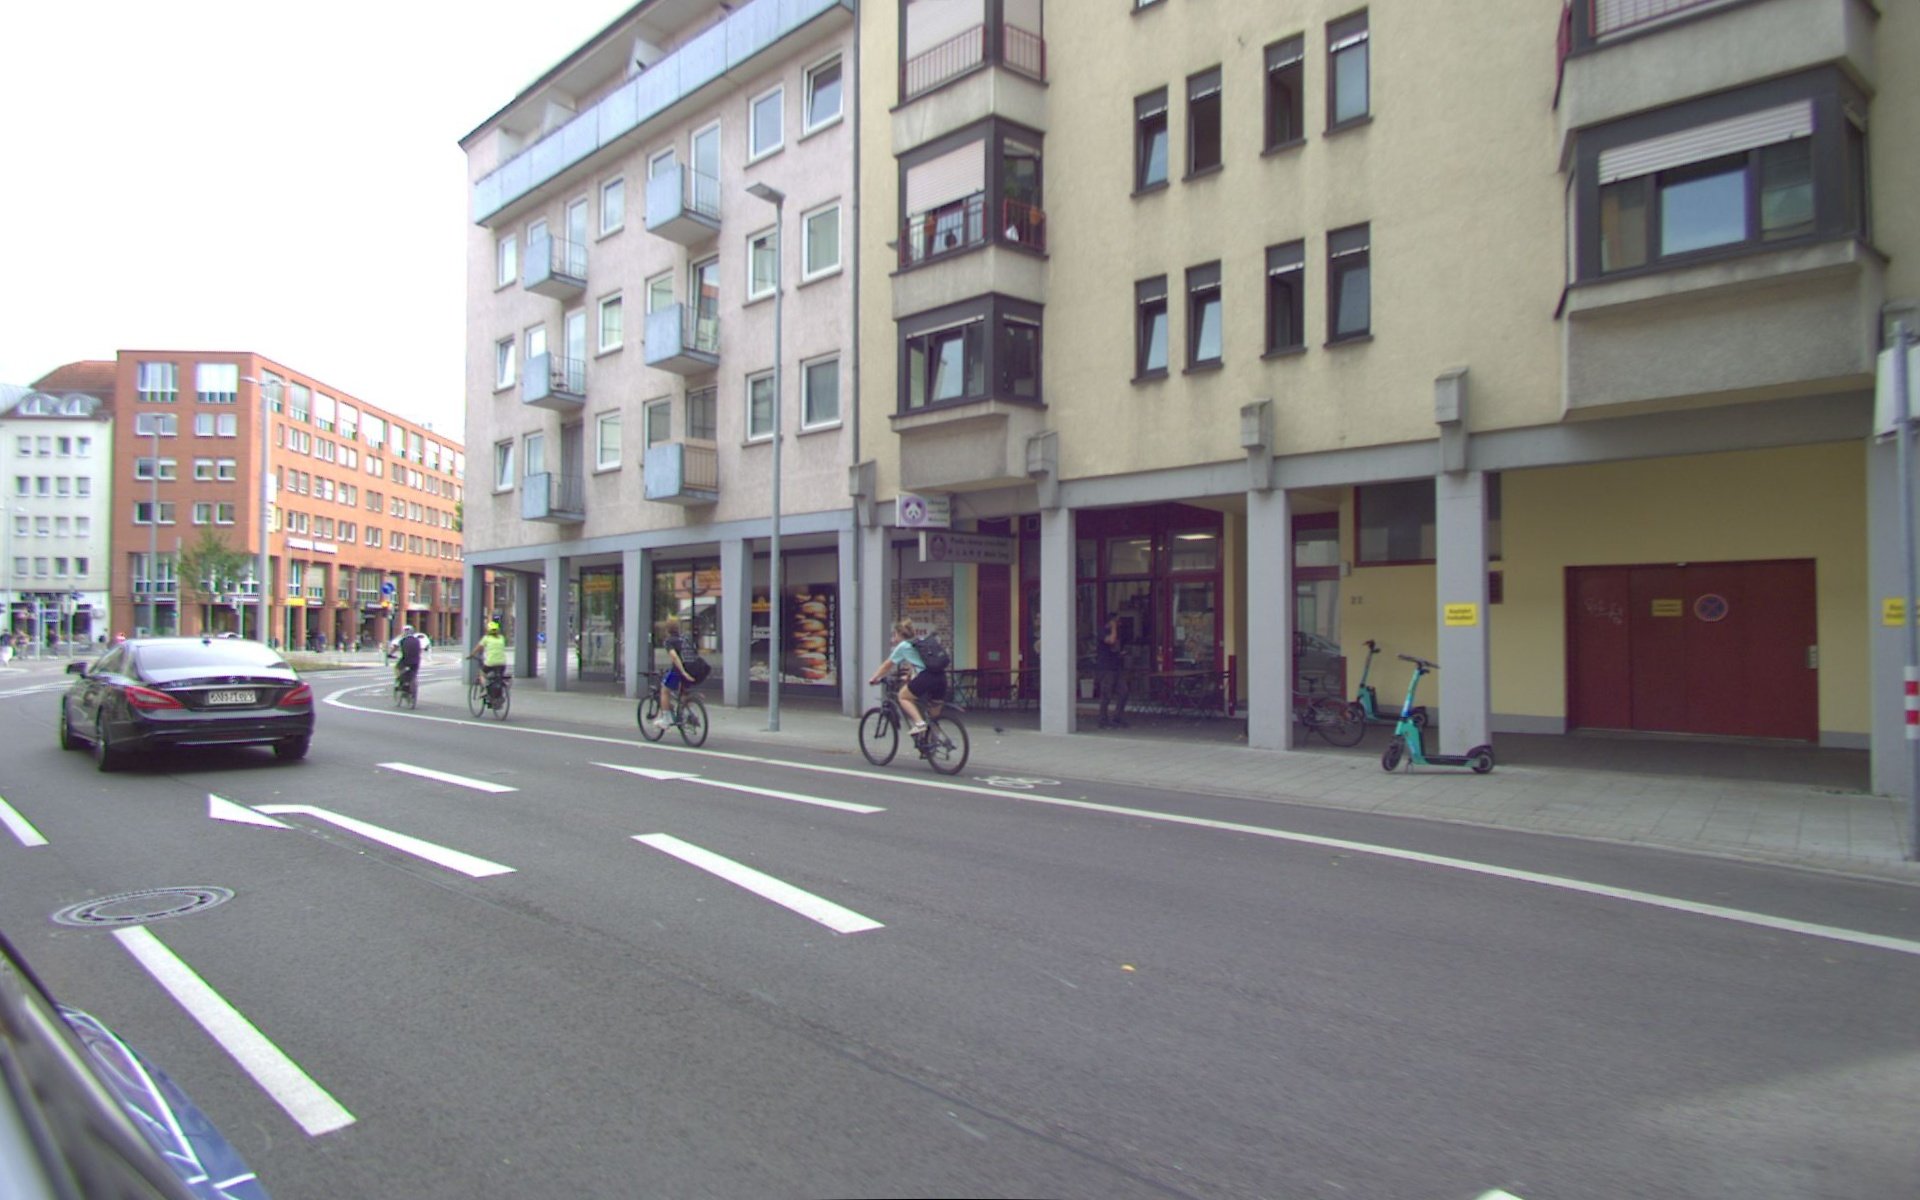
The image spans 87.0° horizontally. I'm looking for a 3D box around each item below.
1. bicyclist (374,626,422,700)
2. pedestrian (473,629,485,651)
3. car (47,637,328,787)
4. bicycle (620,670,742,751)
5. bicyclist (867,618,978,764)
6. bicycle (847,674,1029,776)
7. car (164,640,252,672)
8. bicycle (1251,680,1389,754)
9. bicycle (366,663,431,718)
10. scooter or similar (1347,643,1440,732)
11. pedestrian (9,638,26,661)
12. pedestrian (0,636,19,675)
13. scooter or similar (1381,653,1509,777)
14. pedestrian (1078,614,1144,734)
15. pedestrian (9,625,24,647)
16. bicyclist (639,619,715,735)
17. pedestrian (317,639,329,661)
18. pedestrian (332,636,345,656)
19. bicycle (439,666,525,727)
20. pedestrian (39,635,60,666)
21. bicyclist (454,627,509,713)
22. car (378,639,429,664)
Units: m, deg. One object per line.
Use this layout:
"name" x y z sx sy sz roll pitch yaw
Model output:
"bicyclist" -12.177 1.340 21.927 0.649 1.537 1.003 -1 0 -45
"pedestrian" -41.569 3.424 87.390 0.683 1.889 0.807 0 -2 -4
"car" -9.187 1.159 11.881 4.607 1.418 1.791 -2 -3 42
"bicycle" -3.926 1.509 14.155 1.976 1.014 0.729 -4 -3 44
"bicyclist" -0.432 1.005 11.446 0.649 1.537 1.077 -1 -3 -45
"bicycle" -0.298 1.386 11.635 2.196 1.014 0.729 -4 -3 44
"car" -40.148 2.964 54.153 1.929 1.614 4.003 0 -2 -4
"bicycle" 4.582 1.470 12.958 1.618 0.827 0.425 -2 -3 42
"bicycle" -12.115 1.925 21.820 0.729 1.014 1.910 1 -1 -44
"scooter or similar" 6.167 1.226 14.426 1.175 1.211 0.283 -2 -3 38
"pedestrian" -67.549 3.555 72.550 0.719 1.660 0.699 -3 -3 33
"pedestrian" -48.621 2.838 51.629 0.710 1.986 1.015 5 -6 -41
"scooter or similar" 5.111 1.206 10.684 1.161 1.274 0.286 0 -2 4
"pedestrian" 2.312 1.108 15.497 0.783 1.770 0.575 -2 -1 41
"pedestrian" -66.371 2.562 71.198 0.628 1.523 0.586 -3 -3 33
"bicyclist" -3.967 1.064 14.172 0.649 1.537 0.857 -1 -3 -45
"pedestrian" -51.068 4.001 81.142 0.631 1.700 0.601 0 -3 -4
"pedestrian" -53.108 3.906 86.480 0.637 1.709 0.699 1 -2 -7
"bicycle" -8.872 1.761 18.735 0.729 1.014 2.253 -1 -3 -44
"pedestrian" -53.393 2.972 59.359 0.560 1.838 0.696 0 -3 -5
"bicyclist" -8.939 1.301 18.897 0.649 1.537 0.841 -1 -3 -45
"car" -44.427 4.083 80.870 1.971 1.893 4.002 -1 -2 -2
